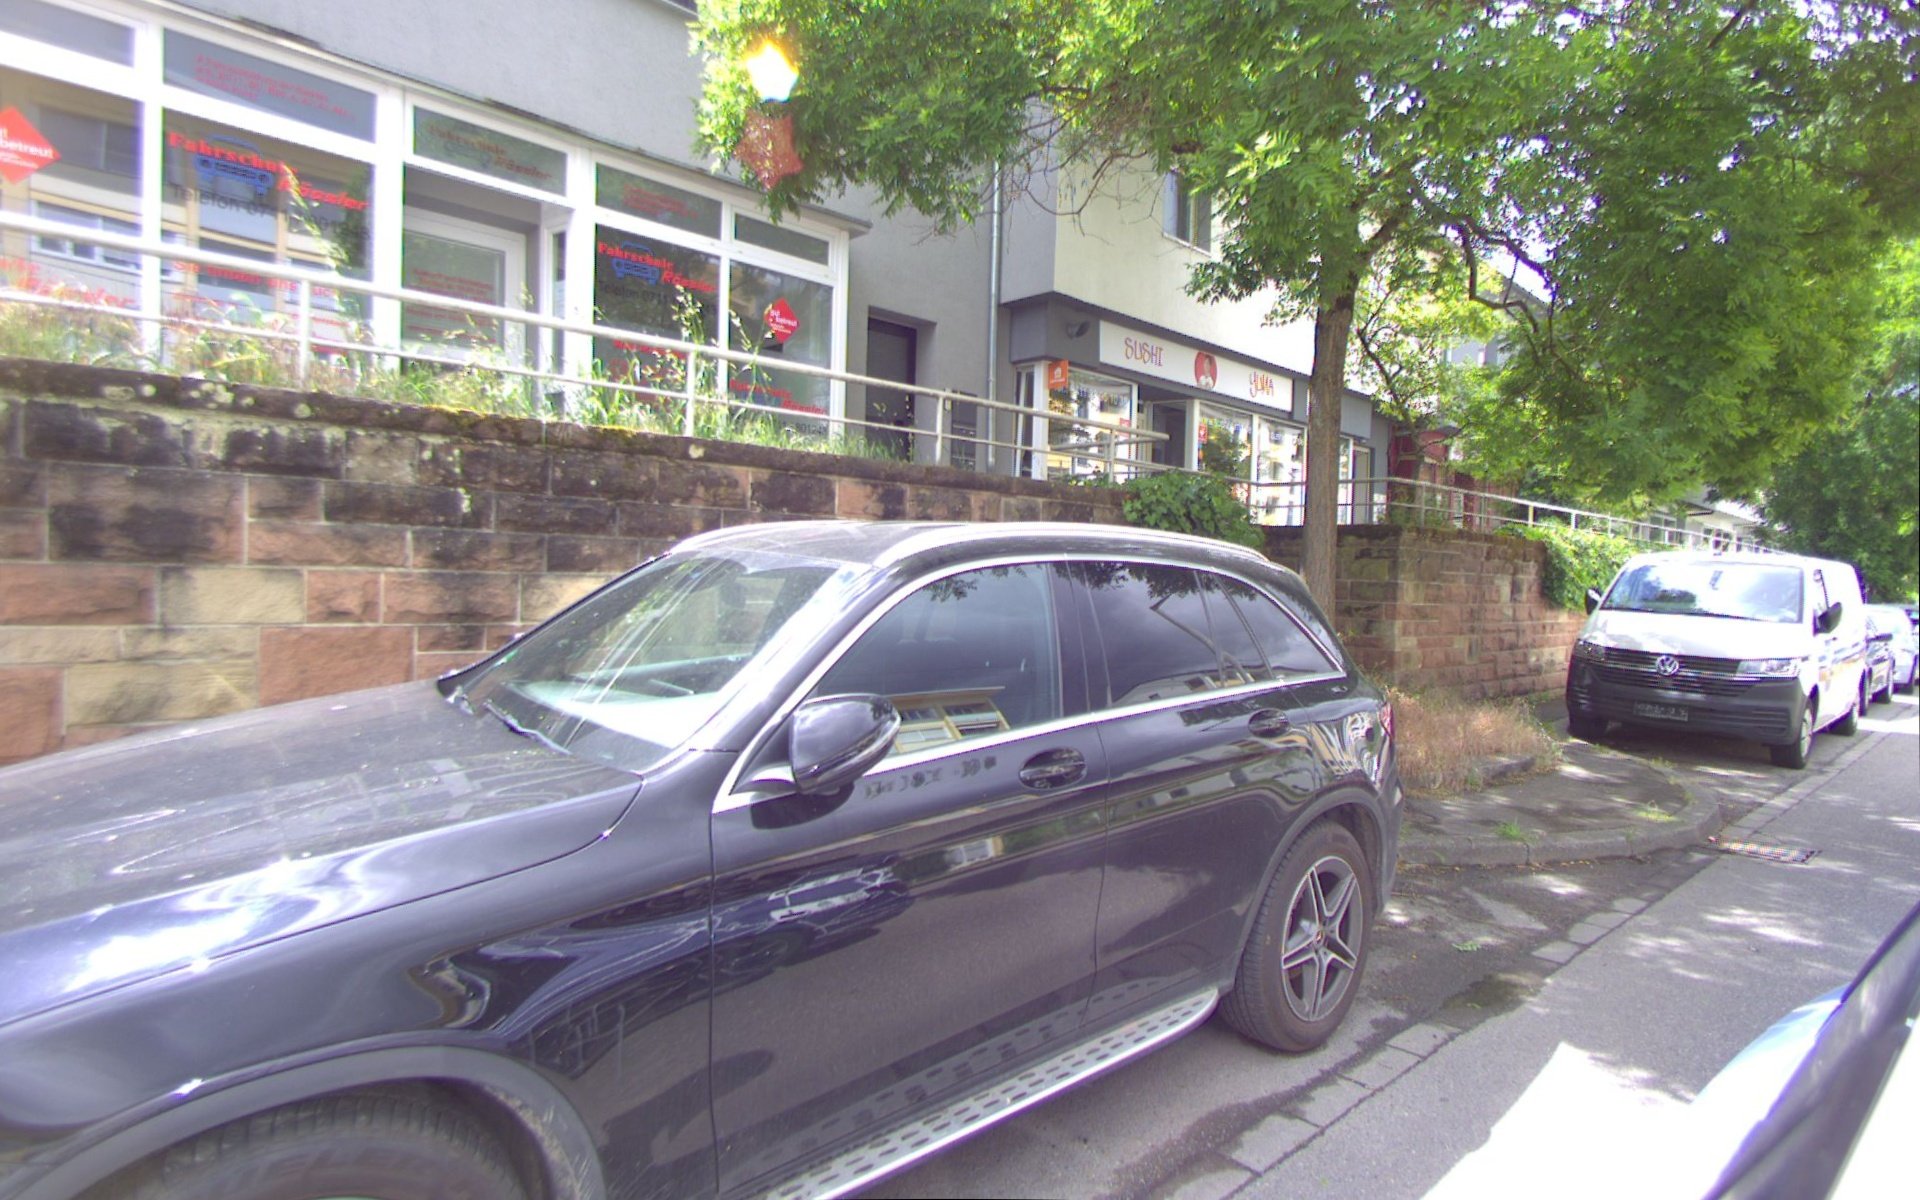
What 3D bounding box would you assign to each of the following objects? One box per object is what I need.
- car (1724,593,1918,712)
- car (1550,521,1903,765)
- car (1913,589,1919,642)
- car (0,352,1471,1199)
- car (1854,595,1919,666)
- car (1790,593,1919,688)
[{"bbox_3d":[12.353,0.652,14.454,3.669,1.446,1.577,0,1,-41],"label":"car"},{"bbox_3d":[8.227,0.325,10.662,4.925,1.994,1.977,0,1,-41],"label":"car"},{"bbox_3d":[32.338,0.499,32.838,4.078,1.674,1.816,-1,1,-44],"label":"car"},{"bbox_3d":[-0.398,0.489,2.906,4.371,1.637,1.793,0,4,-42],"label":"car"},{"bbox_3d":[21.354,0.641,22.422,4.075,1.446,1.783,0,2,-41],"label":"car"},{"bbox_3d":[16.216,0.639,17.973,4.076,1.446,1.782,0,2,-44],"label":"car"}]
